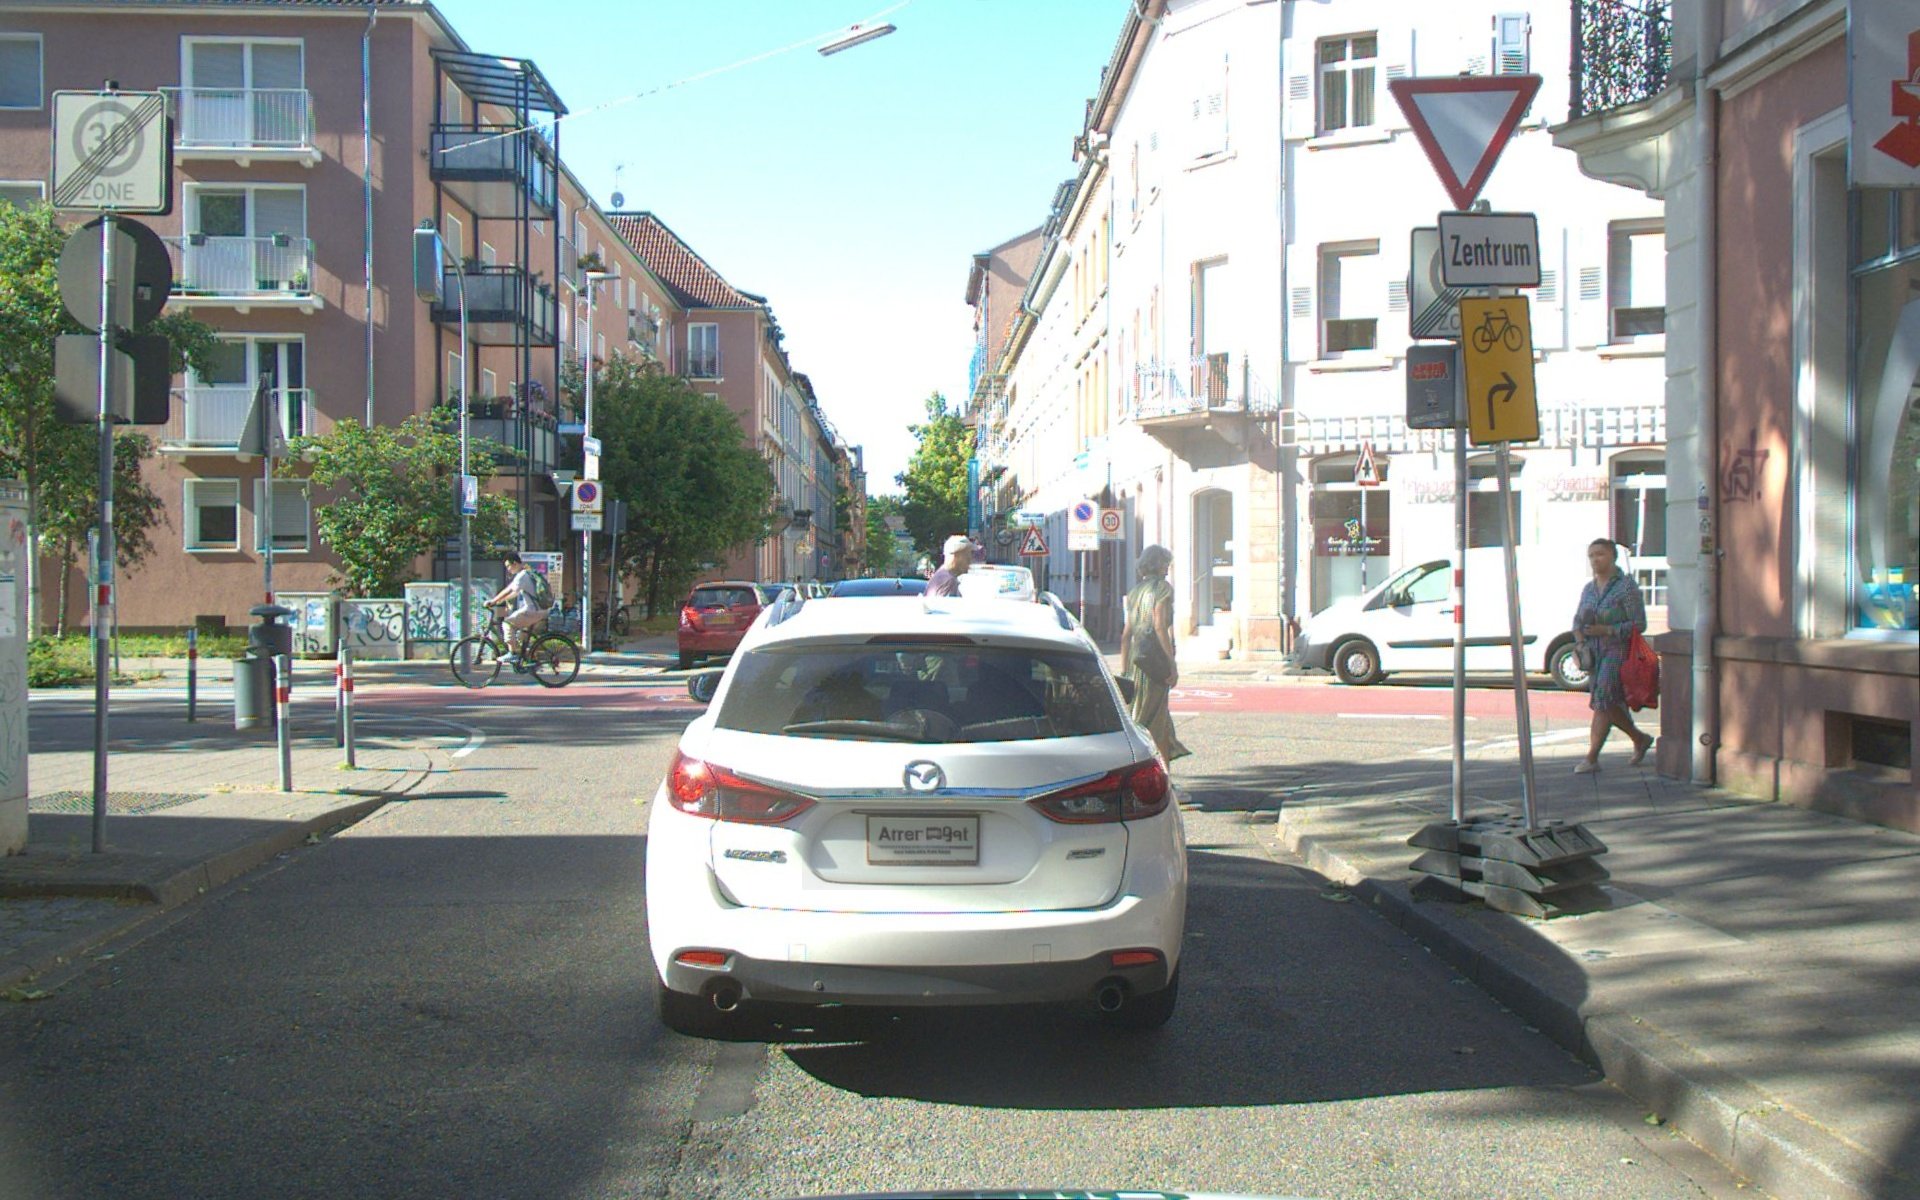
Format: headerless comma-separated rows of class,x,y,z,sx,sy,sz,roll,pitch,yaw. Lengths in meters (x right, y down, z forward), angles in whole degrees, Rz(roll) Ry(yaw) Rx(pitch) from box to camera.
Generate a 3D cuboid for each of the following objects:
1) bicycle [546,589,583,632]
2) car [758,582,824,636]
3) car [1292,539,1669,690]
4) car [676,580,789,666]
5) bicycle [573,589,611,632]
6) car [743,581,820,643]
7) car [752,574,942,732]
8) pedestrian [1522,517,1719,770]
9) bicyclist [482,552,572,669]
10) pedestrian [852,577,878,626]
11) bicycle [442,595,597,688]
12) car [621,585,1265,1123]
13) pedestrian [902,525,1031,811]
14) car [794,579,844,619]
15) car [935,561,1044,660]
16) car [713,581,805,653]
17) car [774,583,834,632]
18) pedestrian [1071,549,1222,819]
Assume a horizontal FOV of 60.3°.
bicycle,-10.208,0.273,42.677,1.193,1.089,0.252,0,1,38
car,-4.989,0.232,49.094,1.620,1.526,3.762,0,1,-1
car,7.363,0.172,23.514,4.906,1.980,2.051,0,0,21
car,-4.245,0.387,31.354,1.650,1.526,3.806,0,1,-1
bicycle,-9.569,0.268,43.014,1.196,1.090,0.252,0,1,38
car,-4.556,0.285,42.645,1.620,1.526,3.762,0,1,-1
car,-1.051,0.459,17.173,1.725,1.434,4.327,0,1,-1
pedestrian,4.528,0.297,11.397,0.828,1.600,0.845,-5,-1,-6
bicyclist,-5.812,0.135,22.247,1.021,1.545,0.738,0,0,-1
pedestrian,-3.189,0.044,55.408,0.720,1.642,0.813,-1,0,-14
bicycle,-5.908,0.550,22.253,1.907,1.219,0.630,0,0,-1
car,-0.072,0.689,6.595,1.794,1.482,3.961,0,1,-1
pedestrian,0.034,0.433,11.067,0.734,1.795,0.830,-3,0,-1
car,-5.402,-0.057,63.675,1.620,1.526,3.762,0,1,-1
car,0.550,0.180,35.042,1.857,1.891,5.011,2,1,-4
car,-4.473,0.342,37.215,1.620,1.526,4.079,0,1,-1
car,-4.995,0.201,53.302,1.620,1.526,3.762,0,1,-1
pedestrian,1.233,0.542,11.045,0.819,1.695,0.626,-4,0,-1
